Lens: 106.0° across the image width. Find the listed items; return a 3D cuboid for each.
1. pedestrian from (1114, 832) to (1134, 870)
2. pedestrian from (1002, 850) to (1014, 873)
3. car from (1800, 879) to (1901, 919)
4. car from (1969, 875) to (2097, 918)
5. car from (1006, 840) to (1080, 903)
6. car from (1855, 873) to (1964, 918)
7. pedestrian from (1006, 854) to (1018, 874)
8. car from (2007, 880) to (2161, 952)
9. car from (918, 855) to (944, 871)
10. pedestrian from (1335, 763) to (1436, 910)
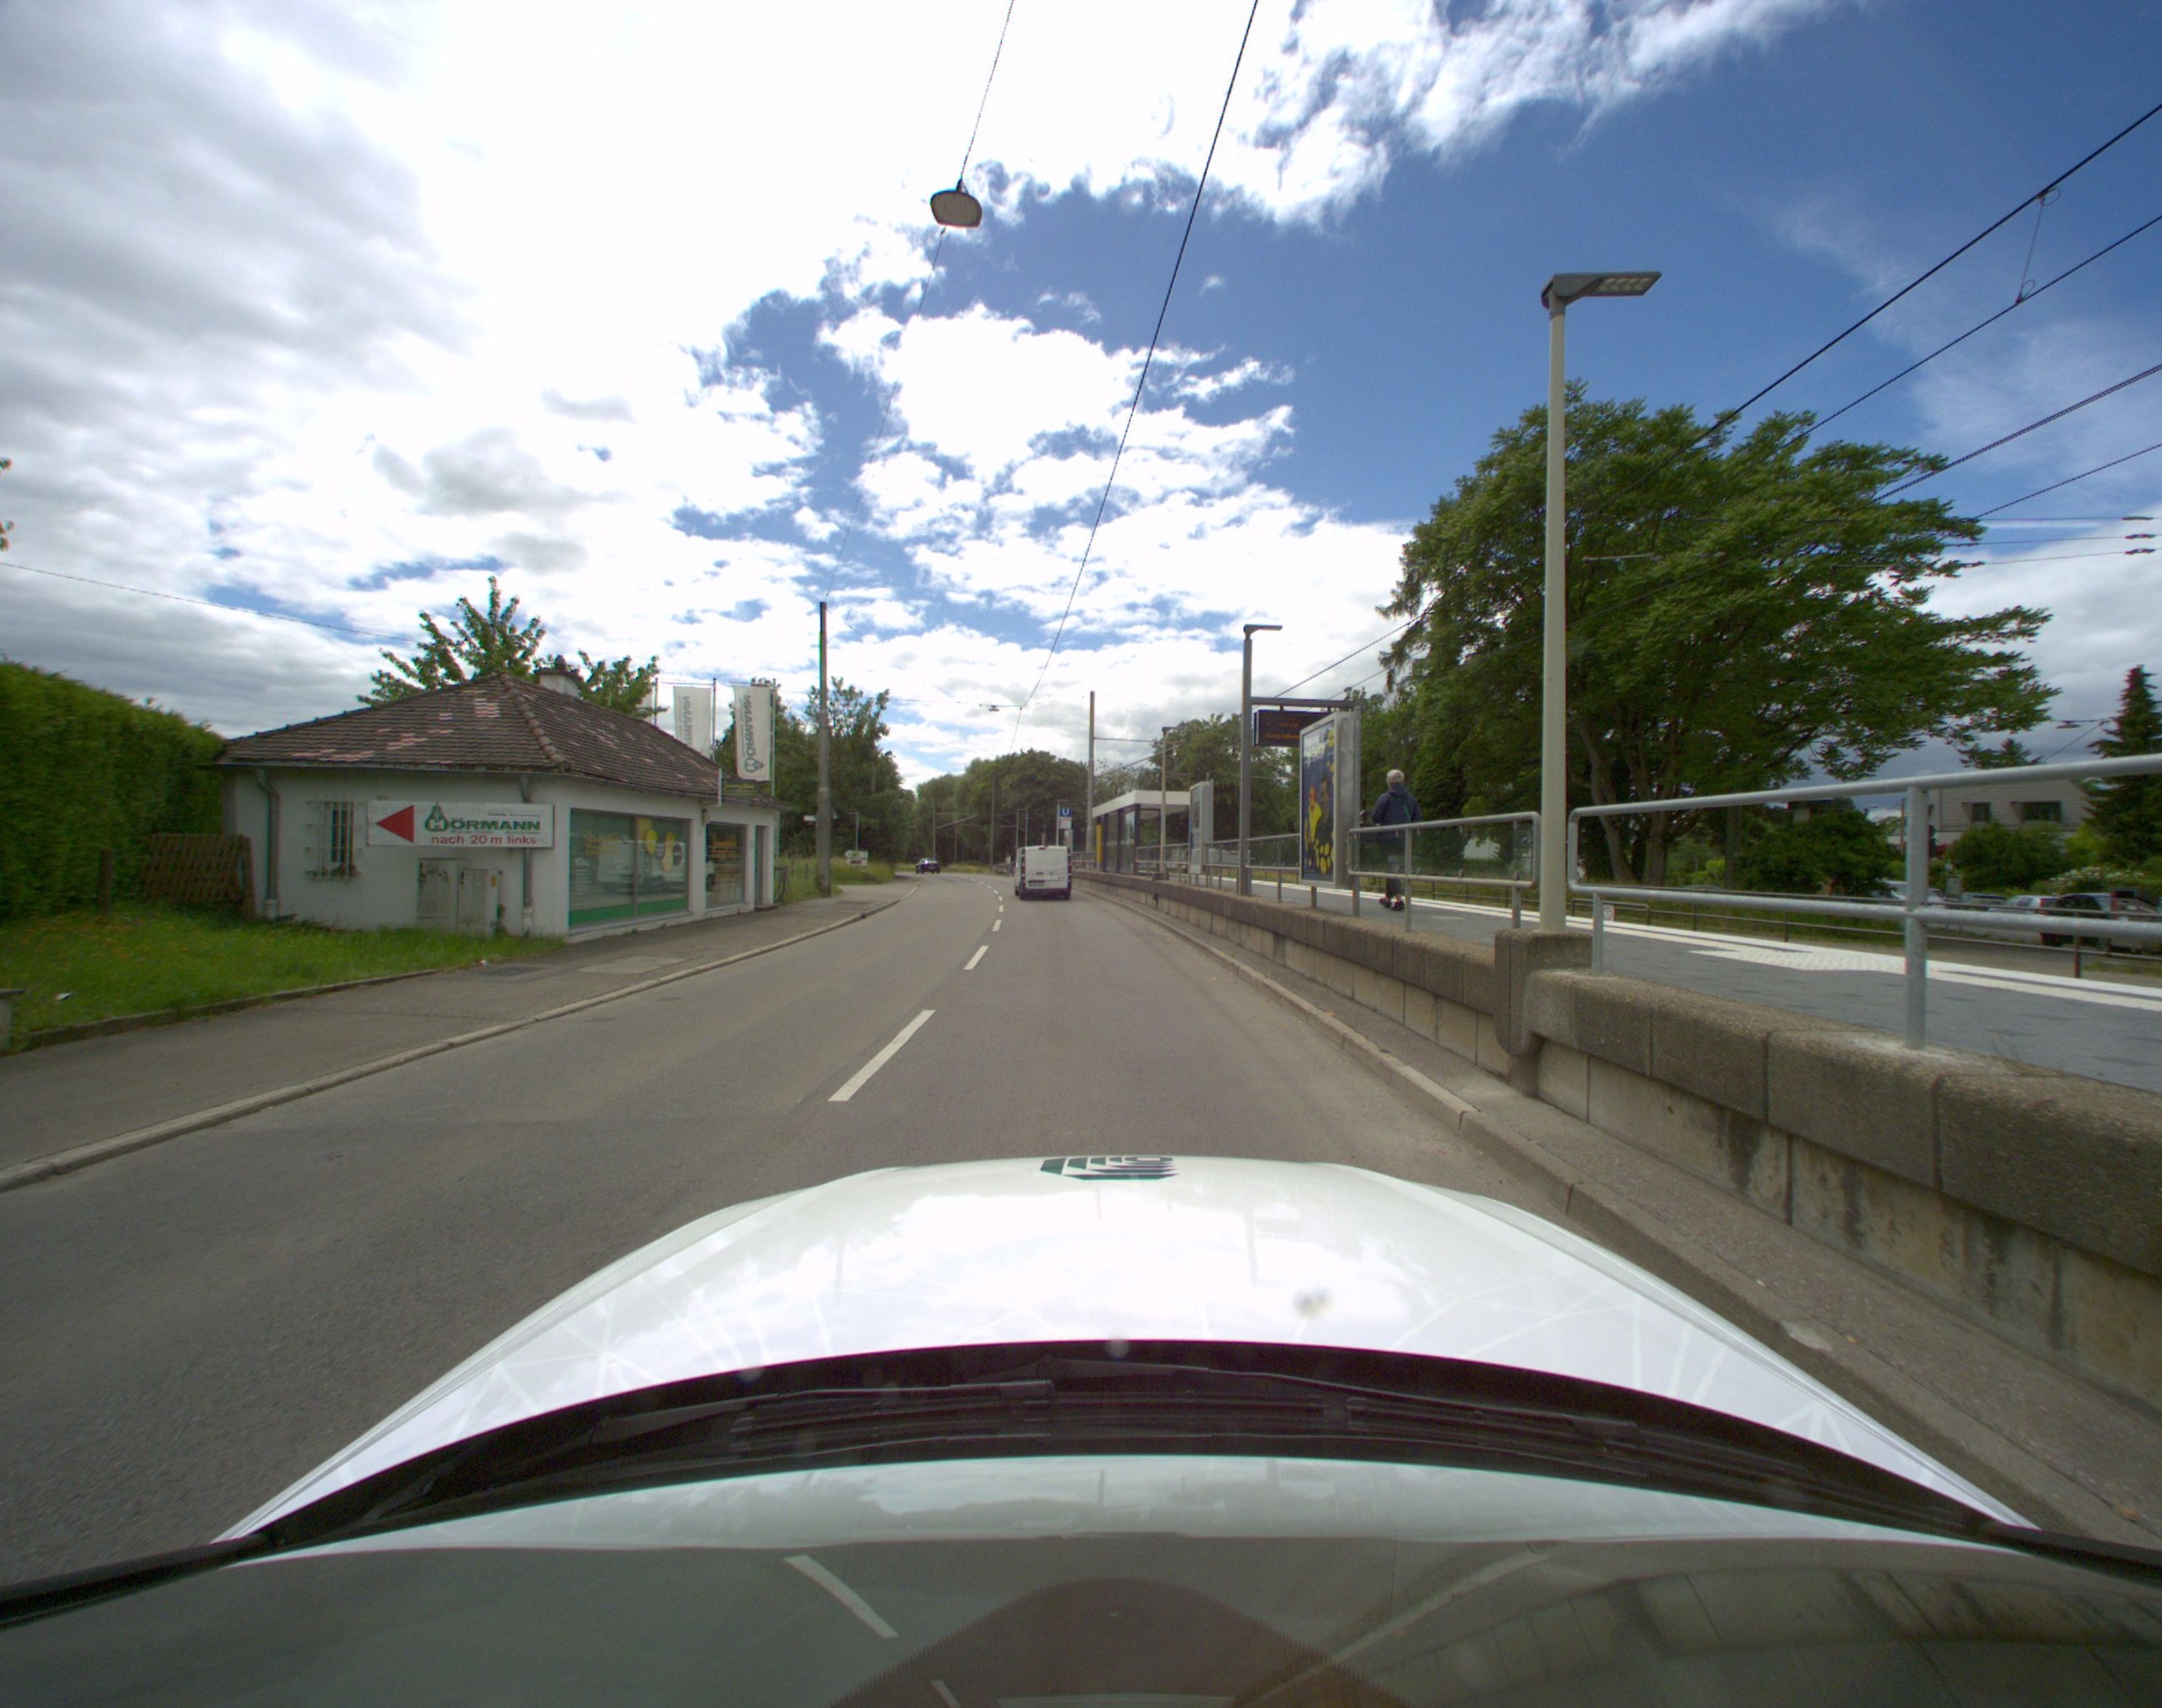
[{"bbox_3d":[1.608,-0.125,30.793,0.638,1.404,0.763,0,1,-7],"label":"pedestrian"},{"bbox_3d":[-5.794,0.612,64.342,0.763,1.795,0.624,1,-1,-33],"label":"pedestrian"},{"bbox_3d":[35.260,2.014,37.472,2.045,1.574,4.284,1,0,23],"label":"car"},{"bbox_3d":[41.299,1.792,35.500,1.800,1.636,4.264,1,0,21],"label":"car"},{"bbox_3d":[-1.544,0.592,30.964,2.117,2.134,5.422,2,0,-10],"label":"car"},{"bbox_3d":[38.094,1.839,37.594,1.742,1.844,4.523,1,-1,20],"label":"car"},{"bbox_3d":[-5.318,0.756,62.848,0.763,1.492,0.624,1,-1,-33],"label":"pedestrian"},{"bbox_3d":[24.168,1.425,19.160,1.740,1.488,4.528,1,-2,29],"label":"car"},{"bbox_3d":[-15.733,0.891,85.244,2.359,1.564,4.350,2,-1,-15],"label":"car"},{"bbox_3d":[3.627,-0.197,9.777,0.882,1.671,0.910,1,0,1],"label":"pedestrian"}]
